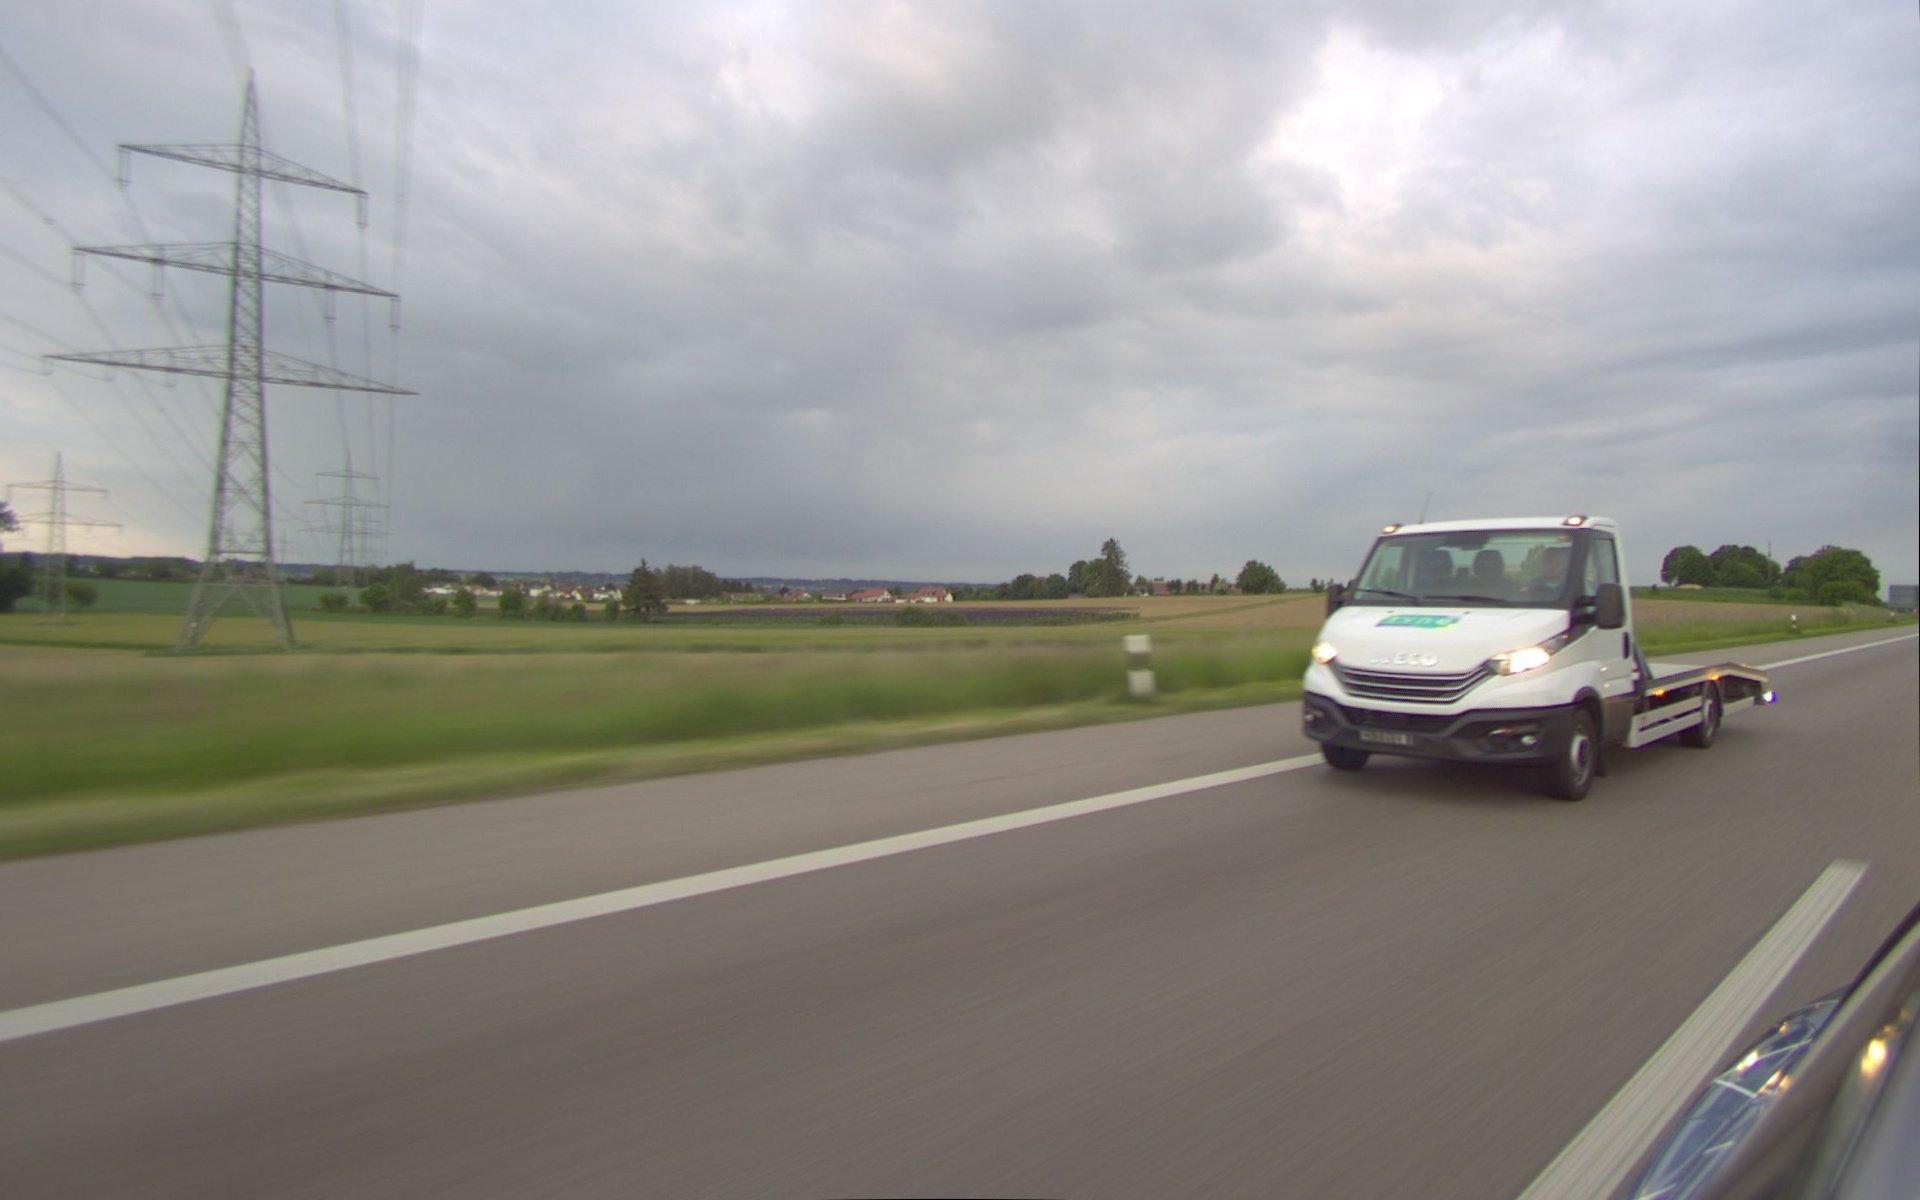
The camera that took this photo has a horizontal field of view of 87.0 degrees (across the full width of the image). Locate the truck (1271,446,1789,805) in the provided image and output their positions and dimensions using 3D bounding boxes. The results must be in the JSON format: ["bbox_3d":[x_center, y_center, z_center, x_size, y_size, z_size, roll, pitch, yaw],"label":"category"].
[{"bbox_3d":[6.111,0.179,10.092,7.563,2.390,2.175,0,-1,-42],"label":"truck"}]
